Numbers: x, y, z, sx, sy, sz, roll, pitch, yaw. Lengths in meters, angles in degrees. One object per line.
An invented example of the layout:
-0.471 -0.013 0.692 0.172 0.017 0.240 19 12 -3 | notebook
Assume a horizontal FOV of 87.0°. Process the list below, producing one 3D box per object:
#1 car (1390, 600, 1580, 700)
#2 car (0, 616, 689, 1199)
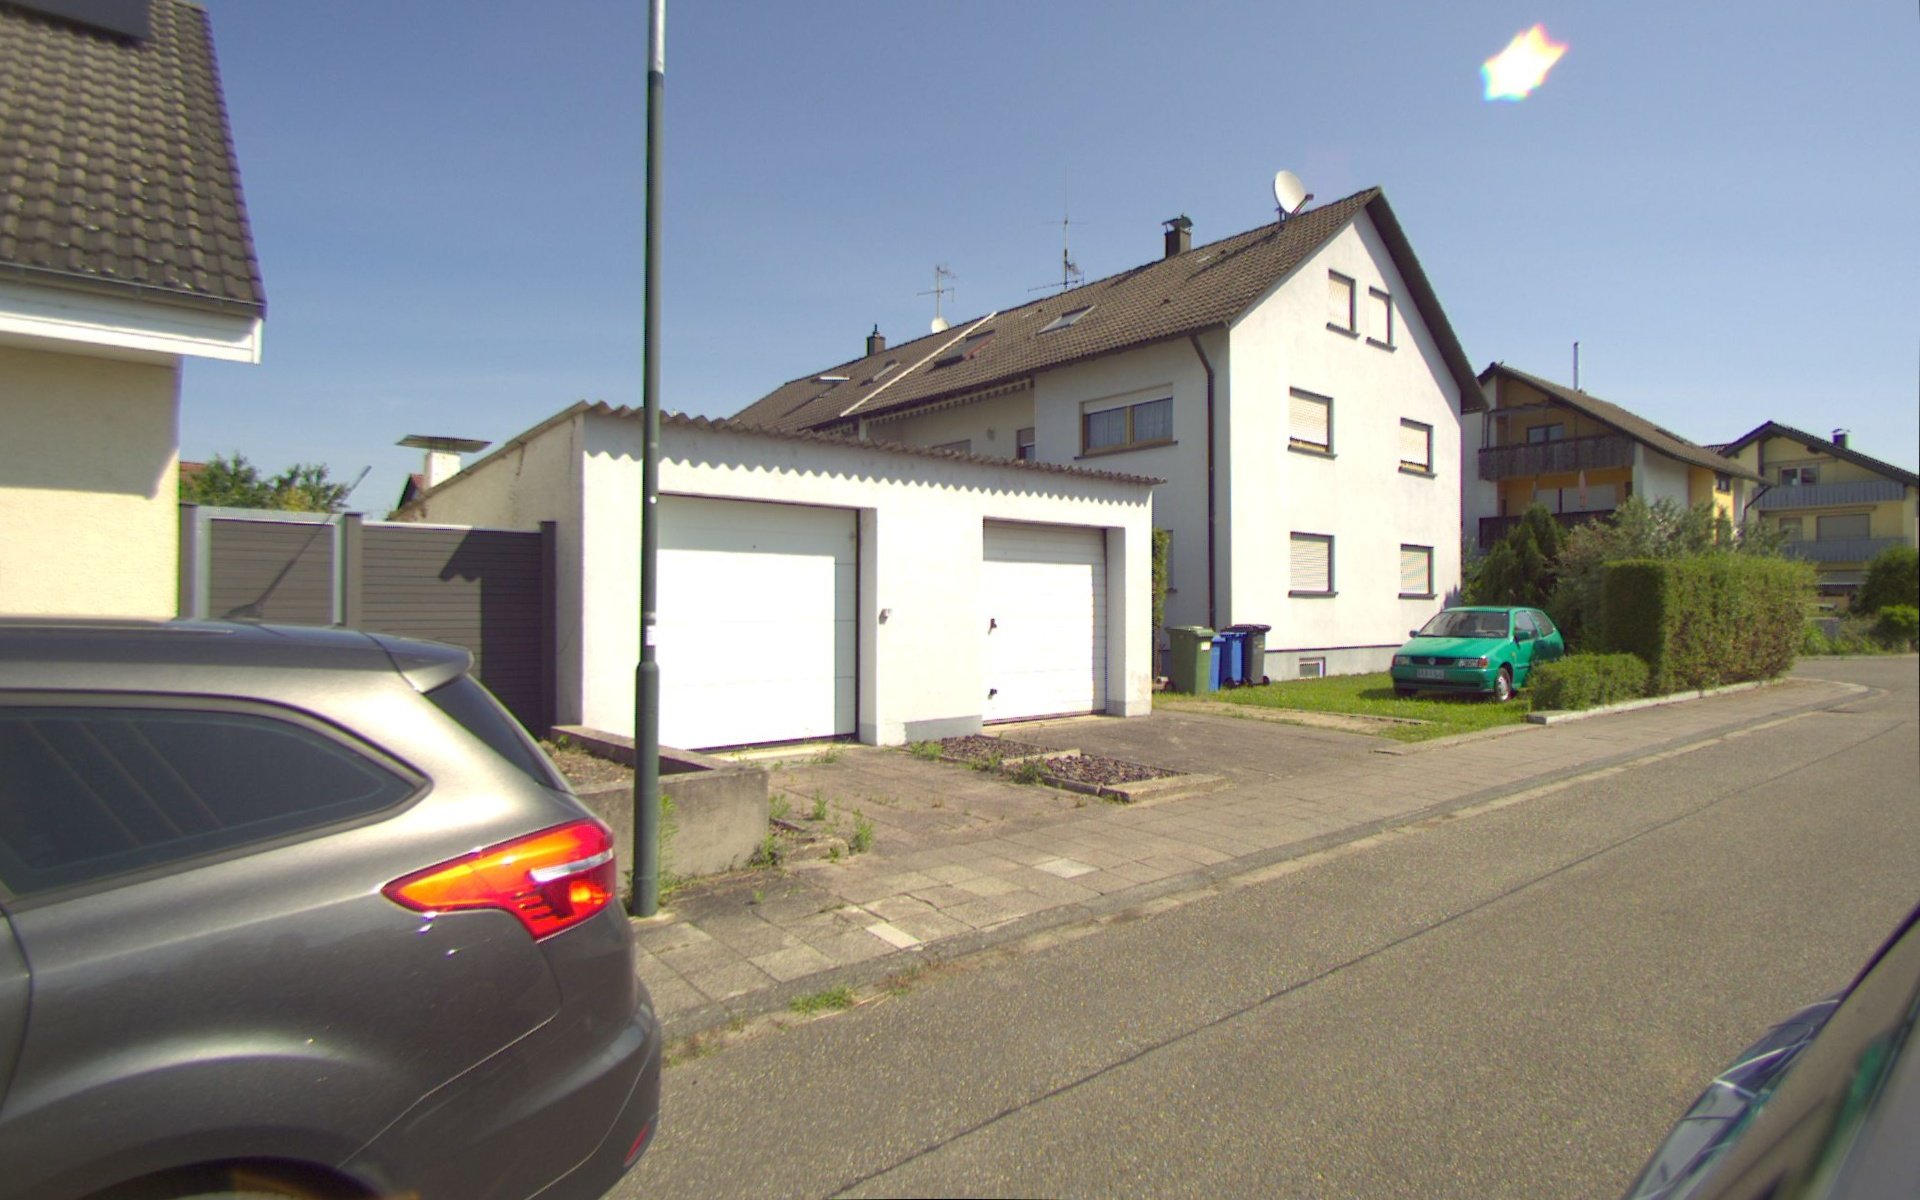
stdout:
8.204 0.693 15.702 3.466 1.376 1.496 0 0 -42 | car
-2.544 0.786 1.330 3.931 1.498 1.644 1 -3 -42 | car
